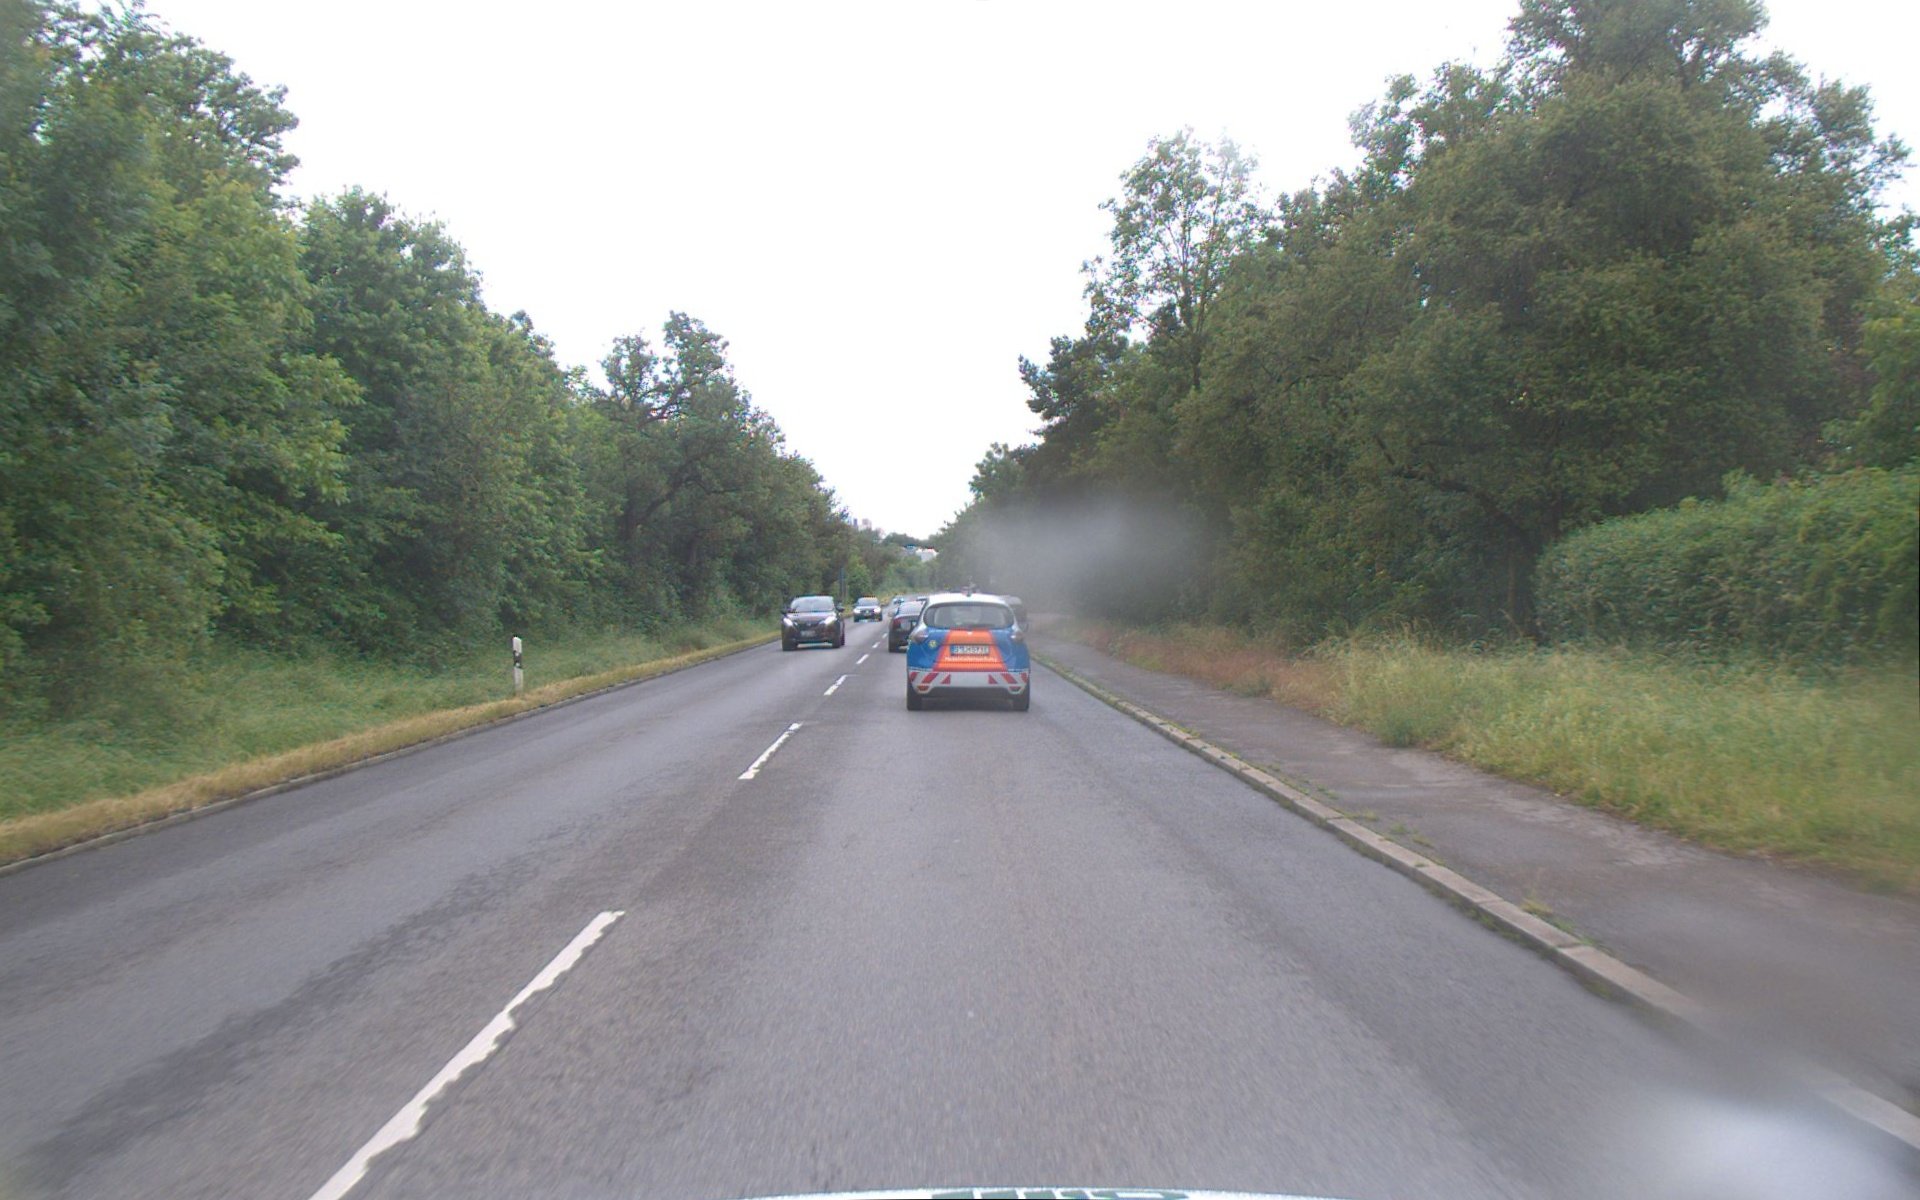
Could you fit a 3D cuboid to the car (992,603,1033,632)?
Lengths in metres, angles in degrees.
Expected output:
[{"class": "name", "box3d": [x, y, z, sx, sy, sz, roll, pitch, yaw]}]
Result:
[{"class": "car", "box3d": [2.687, 0.884, 85.855, 1.953, 1.400, 3.999, -2, 0, -1]}]

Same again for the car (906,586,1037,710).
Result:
[{"class": "car", "box3d": [0.106, 0.619, 23.614, 1.716, 1.583, 3.791, 0, 1, -2]}]

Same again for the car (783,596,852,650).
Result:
[{"class": "car", "box3d": [-4.485, 0.706, 52.496, 1.867, 1.584, 4.514, -2, 0, -1]}]

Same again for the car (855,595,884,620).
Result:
[{"class": "car", "box3d": [-5.665, 0.442, 103.791, 1.676, 1.423, 4.148, -3, 0, -2]}]

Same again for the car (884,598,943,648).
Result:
[{"class": "car", "box3d": [-1.269, 0.623, 46.488, 1.566, 1.309, 3.475, -2, 0, -1]}]
